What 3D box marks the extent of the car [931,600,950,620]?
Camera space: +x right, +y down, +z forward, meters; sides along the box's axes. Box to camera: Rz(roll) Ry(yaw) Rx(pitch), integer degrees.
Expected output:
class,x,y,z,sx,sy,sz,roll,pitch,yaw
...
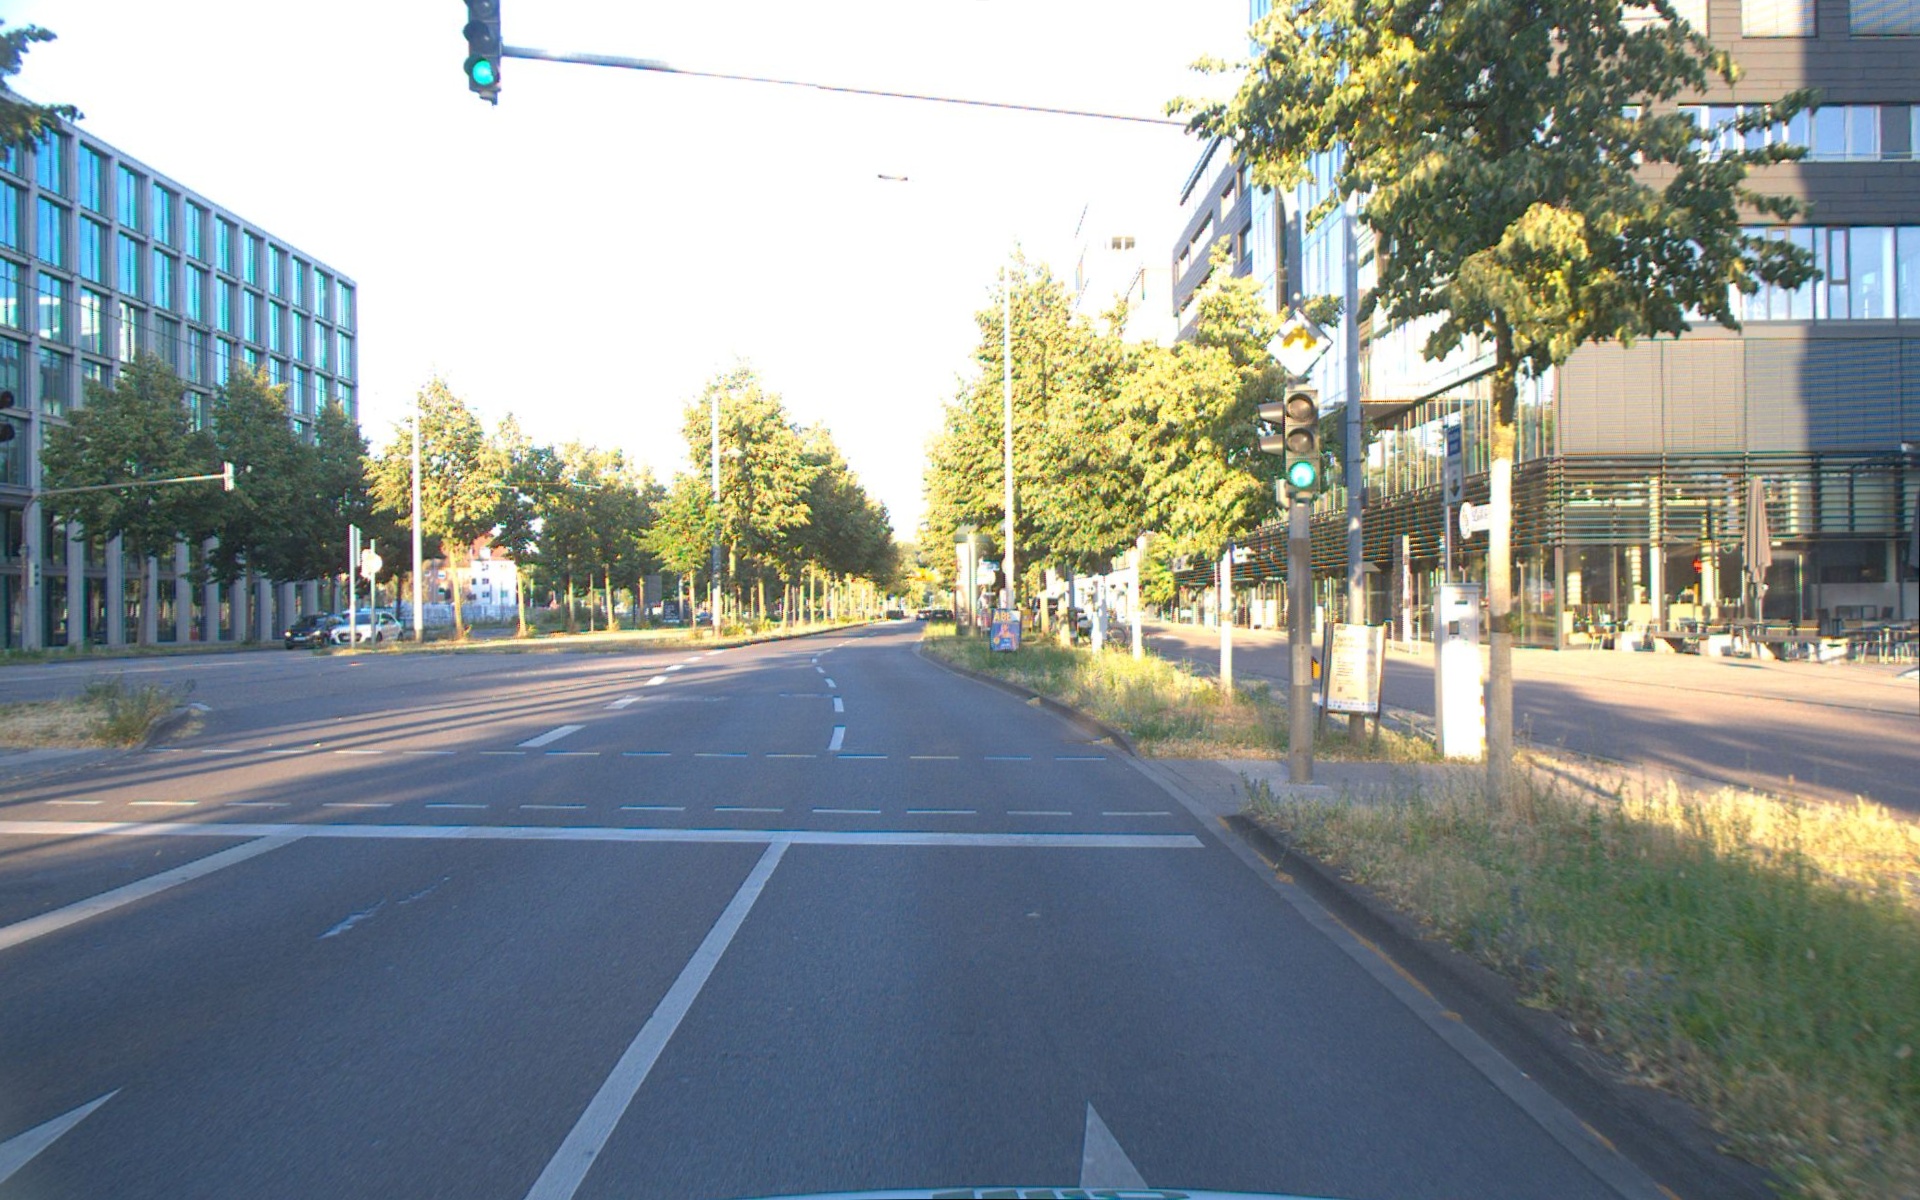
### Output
class,x,y,z,sx,sy,sz,roll,pitch,yaw
car,-2.010,1.025,169.484,1.953,2.049,3.999,-1,0,-1

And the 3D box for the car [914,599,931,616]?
class,x,y,z,sx,sy,sz,roll,pitch,yaw
car,-4.786,0.973,211.745,2.045,2.049,3.999,-1,0,-1

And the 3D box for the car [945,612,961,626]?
class,x,y,z,sx,sy,sz,roll,pitch,yaw
car,-0.798,2.285,196.512,1.834,1.601,3.677,0,0,1

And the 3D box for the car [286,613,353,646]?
class,x,y,z,sx,sy,sz,roll,pitch,yaw
car,-27.984,1.283,72.333,1.623,1.355,3.670,-1,0,-2

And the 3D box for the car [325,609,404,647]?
class,x,y,z,sx,sy,sz,roll,pitch,yaw
car,-22.362,1.041,62.222,1.751,1.355,3.670,-1,0,-2
